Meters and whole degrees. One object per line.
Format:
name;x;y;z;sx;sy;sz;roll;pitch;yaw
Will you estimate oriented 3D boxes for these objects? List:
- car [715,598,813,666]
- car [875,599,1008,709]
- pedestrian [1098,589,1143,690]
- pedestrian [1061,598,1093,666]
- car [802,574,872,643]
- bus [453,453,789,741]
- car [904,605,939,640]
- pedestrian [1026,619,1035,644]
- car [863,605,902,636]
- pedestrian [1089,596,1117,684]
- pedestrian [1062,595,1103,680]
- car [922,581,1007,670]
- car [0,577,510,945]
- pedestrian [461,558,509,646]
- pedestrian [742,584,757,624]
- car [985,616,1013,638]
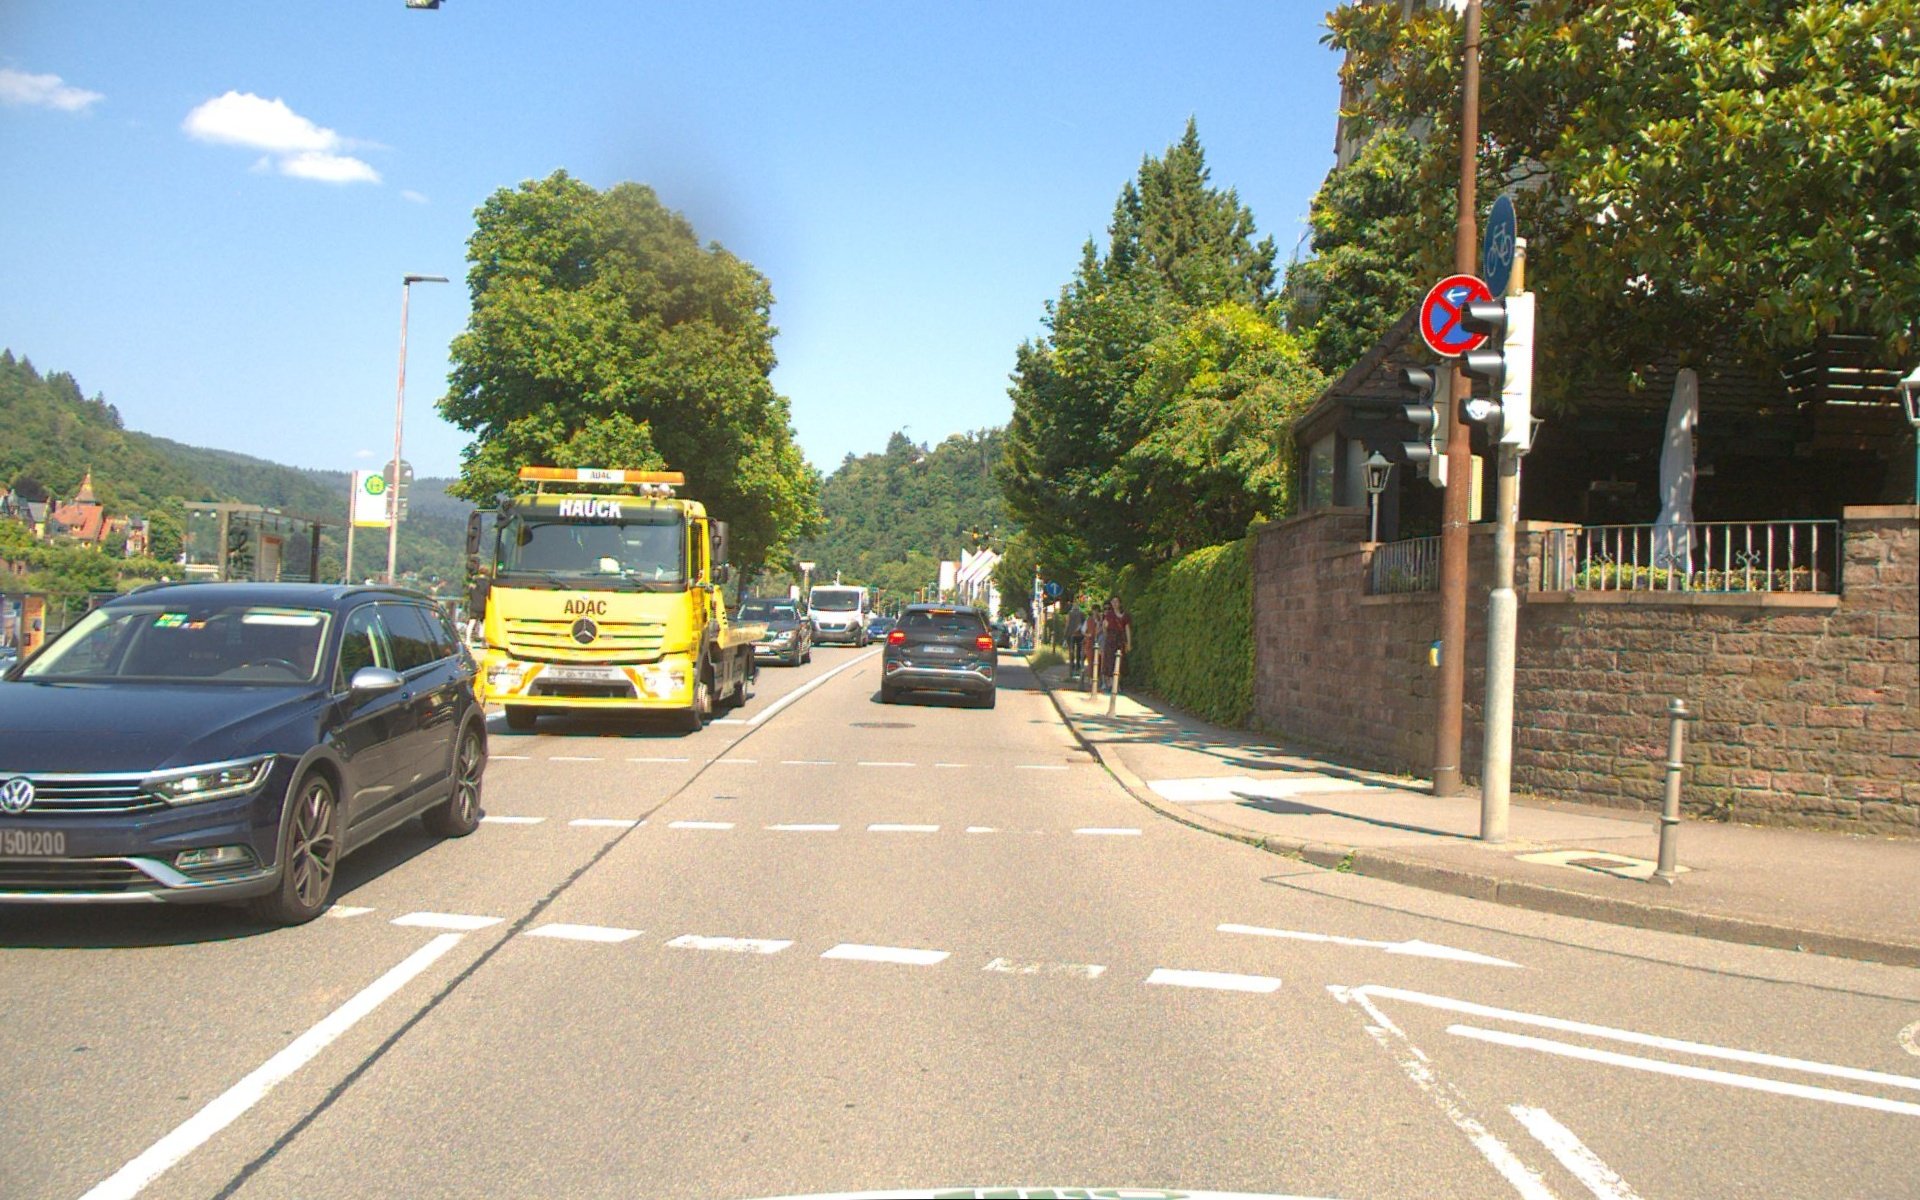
car;-4.469;0.690;38.276;1.778;1.422;4.346;1;0;0
car;-0.215;0.831;26.269;1.818;1.550;4.001;2;-1;3
pedestrian;2.883;0.699;29.806;0.667;1.773;0.913;2;1;0
pedestrian;2.961;0.806;41.921;0.713;1.679;0.882;-1;-1;0
car;-4.409;0.285;60.033;2.053;2.342;5.868;1;0;0
bus;-4.007;0.018;21.683;2.544;2.947;8.446;2;-1;0
car;-2.937;1.732;126.314;2.443;2.510;5.619;1;-2;0
pedestrian;4.509;2.003;105.881;0.479;1.586;0.461;1;-2;0
car;-4.120;1.123;88.485;1.860;1.516;3.795;1;-2;0
pedestrian;2.704;0.757;31.286;0.446;1.634;0.579;1;-1;0
pedestrian;2.446;0.739;33.099;0.720;1.662;0.920;1;0;0
car;0.084;0.619;40.884;1.953;2.049;3.999;1;0;-1
car;-3.776;0.625;8.675;1.772;1.431;4.354;1;0;-3
pedestrian;-10.740;0.058;37.435;0.738;1.951;1.009;1;-2;0
pedestrian;-10.737;0.207;84.452;0.627;2.049;0.730;1;-2;0
car;2.817;1.946;119.435;1.952;1.479;4.008;1;-2;0
